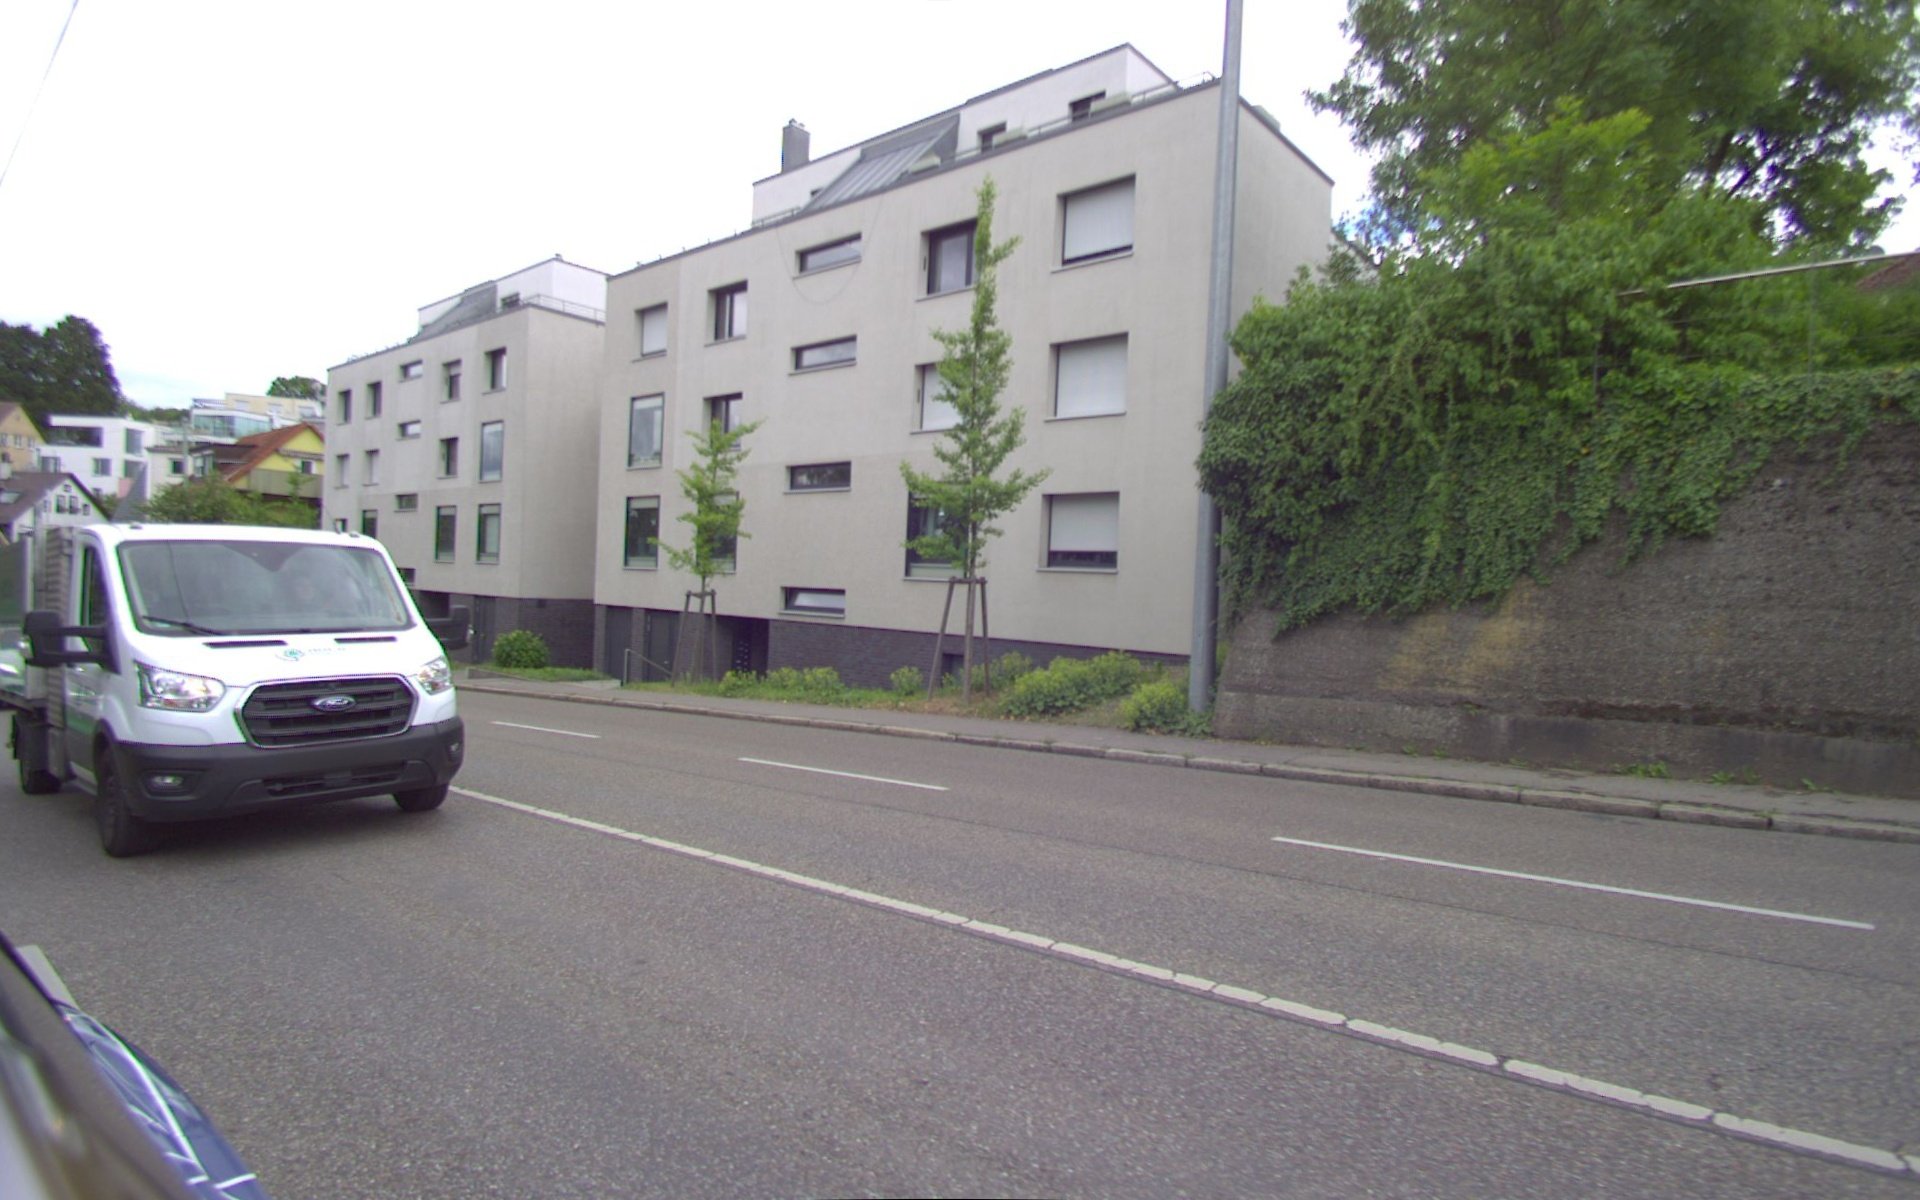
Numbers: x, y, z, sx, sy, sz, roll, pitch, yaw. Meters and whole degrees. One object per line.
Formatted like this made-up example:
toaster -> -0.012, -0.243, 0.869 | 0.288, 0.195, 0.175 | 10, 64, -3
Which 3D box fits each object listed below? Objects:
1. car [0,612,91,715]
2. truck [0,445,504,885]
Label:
car -> -16.471, 1.027, 17.264 | 4.398, 1.492, 1.891 | 0, 2, 41
truck -> -6.269, 0.400, 8.174 | 6.324, 2.338, 2.055 | -1, -1, 38
